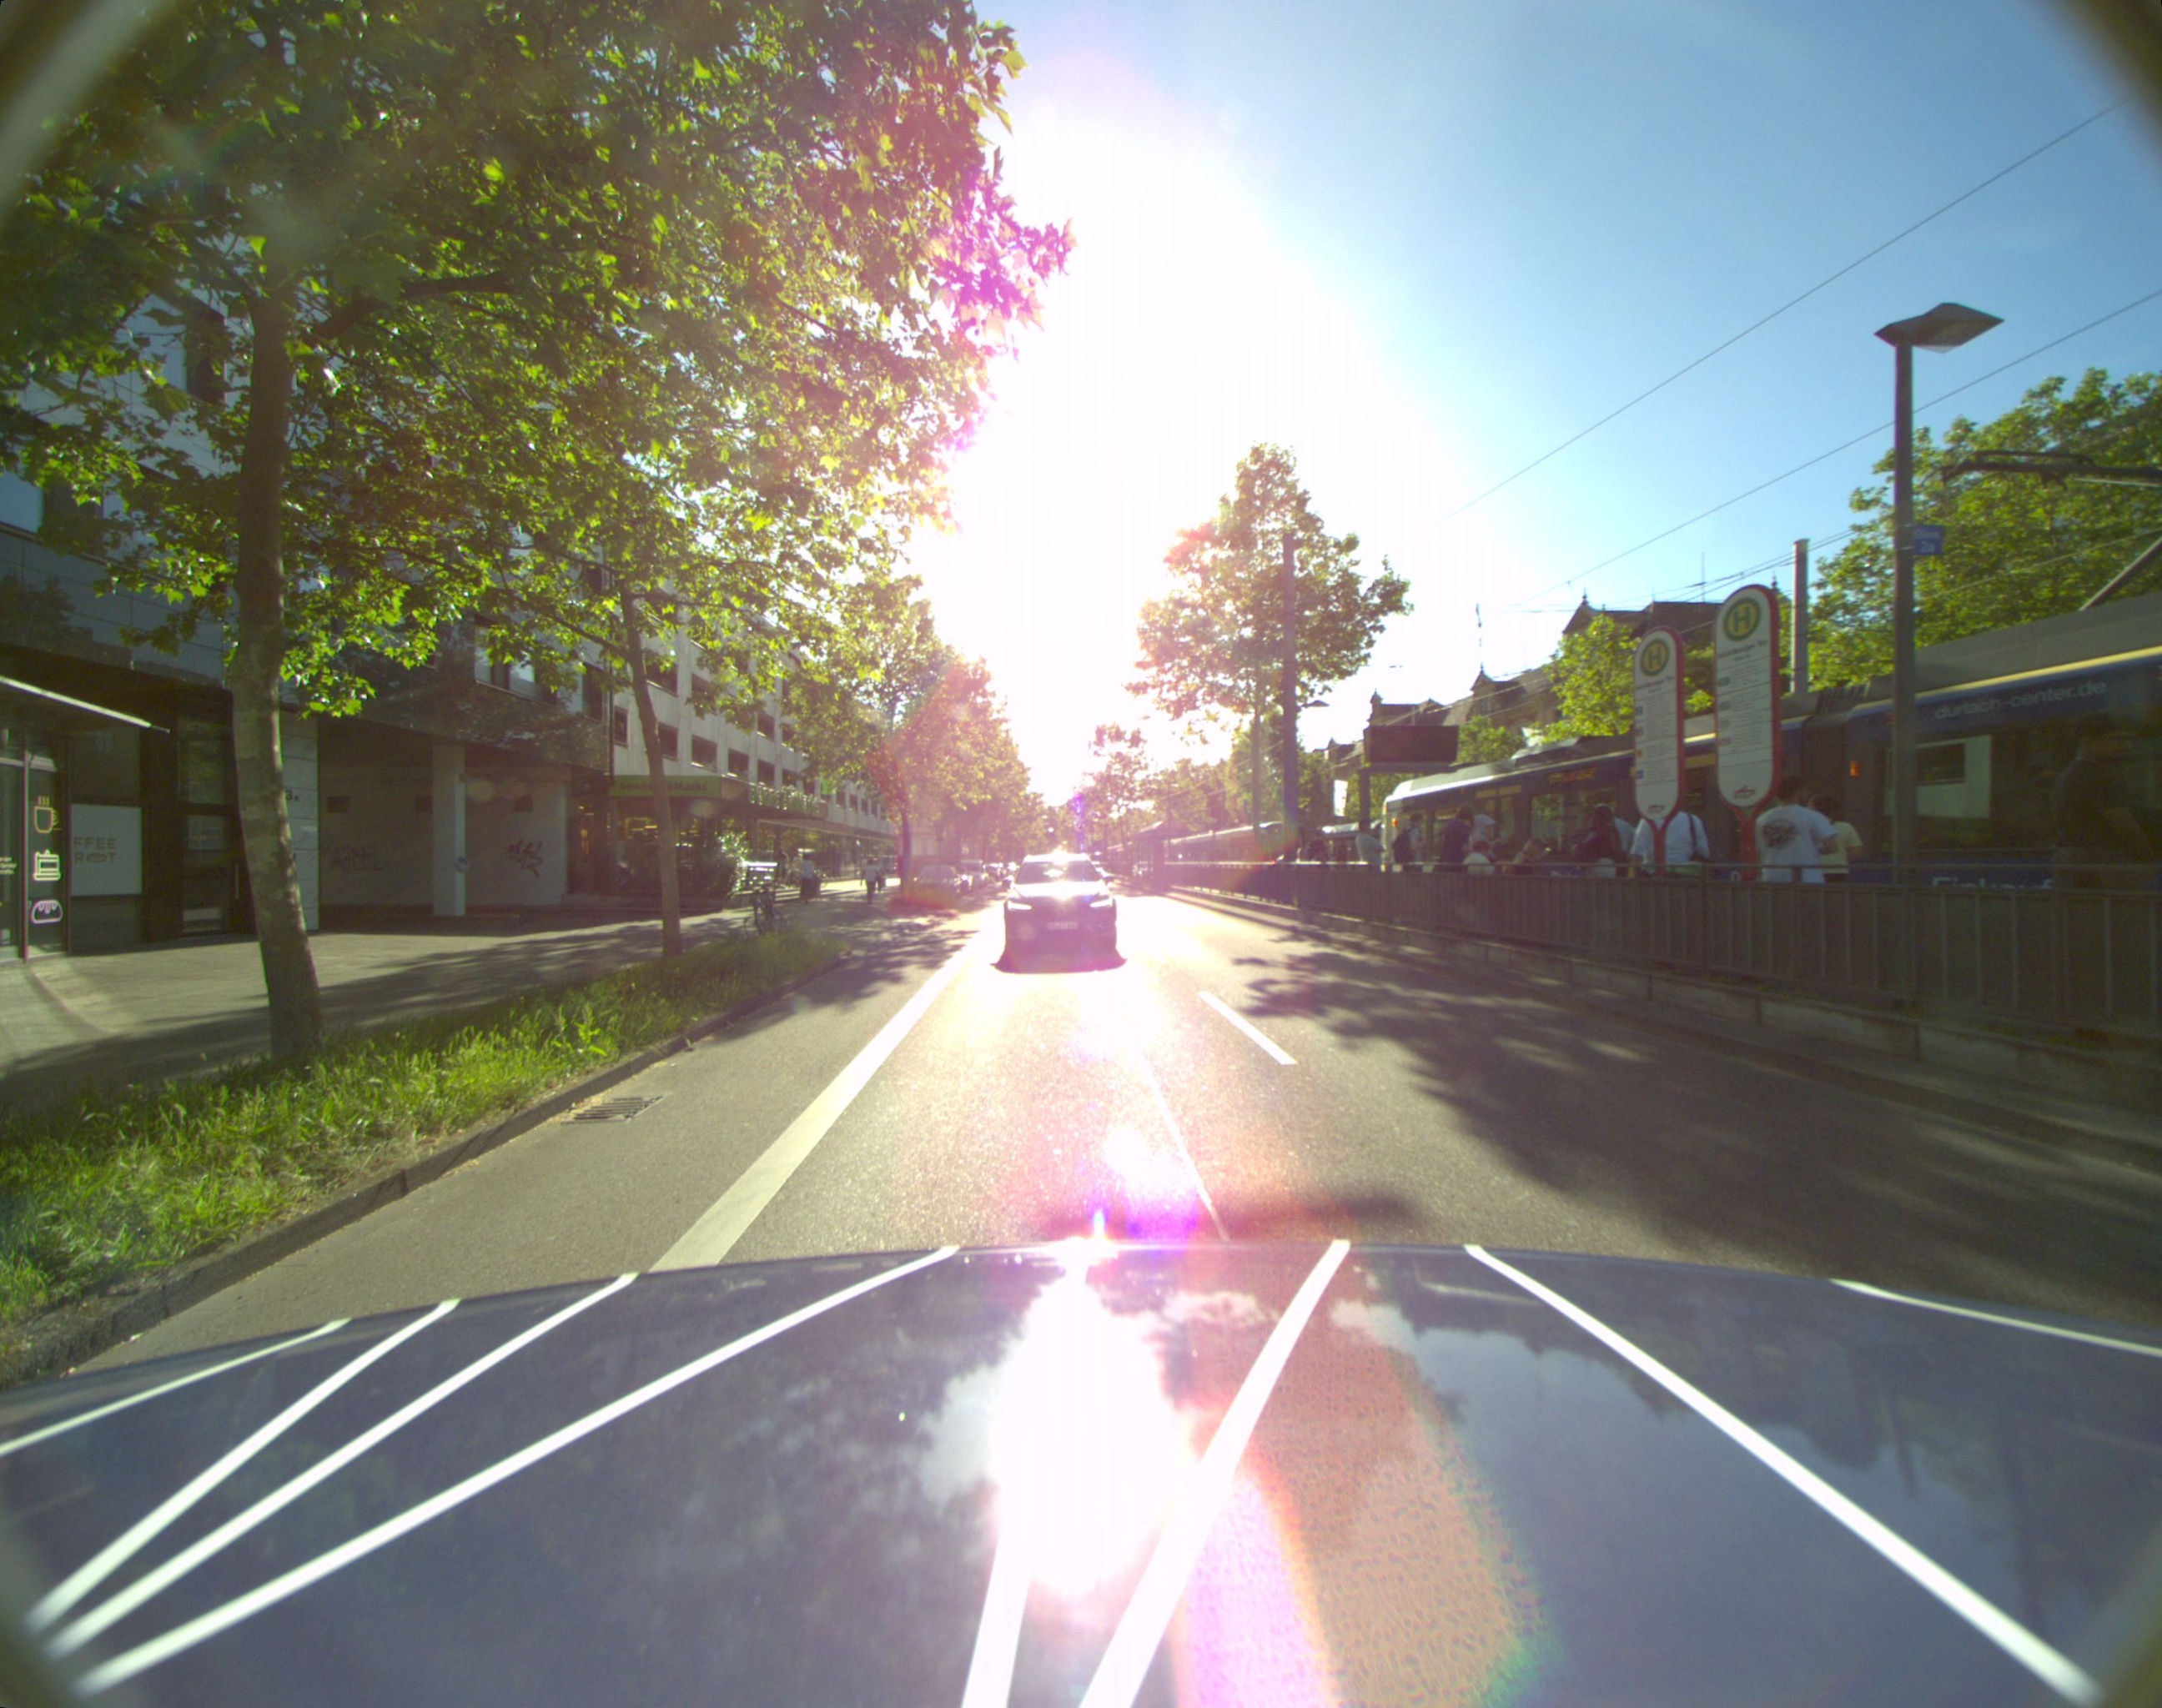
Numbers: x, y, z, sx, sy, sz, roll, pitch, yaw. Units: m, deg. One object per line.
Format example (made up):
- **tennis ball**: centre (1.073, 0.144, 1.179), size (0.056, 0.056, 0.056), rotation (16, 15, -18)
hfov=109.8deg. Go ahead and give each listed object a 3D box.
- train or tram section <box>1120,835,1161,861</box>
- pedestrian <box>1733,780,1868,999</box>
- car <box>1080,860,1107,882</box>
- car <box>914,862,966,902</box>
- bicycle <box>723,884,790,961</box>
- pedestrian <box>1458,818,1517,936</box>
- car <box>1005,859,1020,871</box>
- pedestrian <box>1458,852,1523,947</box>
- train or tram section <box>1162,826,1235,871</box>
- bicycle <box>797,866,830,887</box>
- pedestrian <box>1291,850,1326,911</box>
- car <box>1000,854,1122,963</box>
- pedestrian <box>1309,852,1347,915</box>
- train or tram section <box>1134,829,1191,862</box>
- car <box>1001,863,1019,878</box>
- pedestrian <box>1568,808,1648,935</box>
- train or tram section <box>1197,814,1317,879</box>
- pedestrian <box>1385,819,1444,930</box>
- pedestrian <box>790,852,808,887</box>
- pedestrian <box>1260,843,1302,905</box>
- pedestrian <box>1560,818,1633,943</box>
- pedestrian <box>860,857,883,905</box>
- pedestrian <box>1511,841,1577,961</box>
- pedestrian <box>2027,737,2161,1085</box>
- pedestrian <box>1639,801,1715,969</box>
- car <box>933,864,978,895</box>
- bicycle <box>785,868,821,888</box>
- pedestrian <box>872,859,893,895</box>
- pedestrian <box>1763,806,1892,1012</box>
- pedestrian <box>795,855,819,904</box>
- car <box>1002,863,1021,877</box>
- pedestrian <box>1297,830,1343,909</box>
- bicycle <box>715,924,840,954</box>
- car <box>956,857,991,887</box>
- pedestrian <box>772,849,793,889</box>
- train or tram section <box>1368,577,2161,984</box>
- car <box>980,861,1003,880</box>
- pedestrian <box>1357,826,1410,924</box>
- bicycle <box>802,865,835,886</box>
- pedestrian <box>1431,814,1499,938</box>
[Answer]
- **train or tram section**: centre (6.194, -0.550, 82.300), size (2.570, 2.516, 15.069), rotation (-1, 0, -3)
- **pedestrian**: centre (5.842, 0.277, 6.195), size (0.507, 1.692, 0.611), rotation (0, 0, -7)
- **car**: centre (0.827, 1.160, 52.804), size (1.707, 1.407, 3.875), rotation (-2, 0, -1)
- **car**: centre (-5.901, 1.138, 32.209), size (1.569, 1.541, 3.999), rotation (-1, 0, -2)
- **bicycle**: centre (-5.455, 1.115, 12.873), size (0.791, 1.126, 1.844), rotation (0, 0, -15)
- **pedestrian**: centre (6.000, 0.336, 11.240), size (0.516, 1.698, 0.621), rotation (0, 0, -3)
- **car**: centre (-9.552, 1.516, 105.670), size (1.839, 1.555, 4.272), rotation (-1, 0, -3)
- **pedestrian**: centre (5.281, 0.571, 9.821), size (0.546, 1.185, 0.531), rotation (0, 0, -3)
- **train or tram section**: centre (10.209, -0.354, 68.831), size (2.879, 3.414, 18.271), rotation (-2, 0, -2)
- **bicycle**: centre (-14.266, 1.179, 40.527), size (1.700, 1.049, 0.587), rotation (1, -1, 24)
- **pedestrian**: centre (4.851, 0.556, 16.230), size (0.535, 1.291, 0.604), rotation (0, 0, -6)
- **car**: centre (-0.425, 0.869, 14.276), size (1.914, 1.695, 4.272), rotation (-1, 0, -3)
- **pedestrian**: centre (4.945, 0.578, 15.243), size (0.535, 1.239, 0.604), rotation (0, 0, -5)
- **train or tram section**: centre (6.899, -0.611, 66.931), size (2.570, 2.549, 15.671), rotation (-1, 0, -3)
- **car**: centre (-6.980, 1.596, 74.753), size (1.630, 1.433, 3.929), rotation (1, 0, -3)
- **pedestrian**: centre (7.016, 0.225, 10.135), size (0.620, 1.640, 0.622), rotation (0, 0, -7)
- **train or tram section**: centre (11.002, -0.356, 50.509), size (2.857, 3.414, 18.210), rotation (-2, 0, -2)
- **pedestrian**: centre (5.184, 0.309, 11.827), size (0.662, 1.686, 0.571), rotation (0, 0, -2)
- **pedestrian**: centre (-14.076, 0.758, 37.963), size (0.614, 1.705, 0.611), rotation (6, -1, -27)
- **pedestrian**: centre (4.918, 0.478, 18.752), size (0.778, 1.501, 0.751), rotation (0, 0, -6)
- **pedestrian**: centre (6.403, 0.318, 9.456), size (0.546, 1.510, 0.531), rotation (0, 0, -3)
- **pedestrian**: centre (-7.618, 0.967, 27.658), size (0.561, 1.694, 1.052), rotation (0, 0, -3)
- **pedestrian**: centre (5.202, 0.516, 8.553), size (0.417, 1.308, 0.507), rotation (0, 0, -5)
- **pedestrian**: centre (5.593, 0.281, 4.008), size (0.549, 1.724, 0.539), rotation (0, 0, -7)
- **pedestrian**: centre (6.274, 0.313, 8.028), size (0.506, 1.692, 0.613), rotation (0, 0, 25)
- **car**: centre (-6.353, 1.257, 38.999), size (1.766, 1.409, 4.699), rotation (-1, 0, -3)
- **bicycle**: centre (-13.457, 1.172, 36.792), size (1.648, 0.910, 0.587), rotation (1, -3, 24)
- **pedestrian**: centre (-9.114, 1.060, 34.932), size (0.699, 1.603, 0.868), rotation (2, 0, -1)
- **pedestrian**: centre (6.690, 0.471, 6.830), size (0.555, 1.760, 0.611), rotation (0, 0, -7)
- **pedestrian**: centre (-9.915, 0.909, 27.500), size (0.561, 1.734, 0.878), rotation (0, 0, -3)
- **car**: centre (-7.307, 1.677, 79.818), size (1.781, 1.373, 4.275), rotation (-1, 0, -3)
- **pedestrian**: centre (5.442, 0.348, 17.321), size (0.778, 1.742, 0.723), rotation (0, 0, -6)
- **bicycle**: centre (-5.126, 1.441, 13.001), size (1.613, 0.351, 1.388), rotation (0, 0, -3)
- **car**: centre (-6.863, 1.123, 48.752), size (1.769, 1.781, 4.392), rotation (0, 0, -2)
- **pedestrian**: centre (-12.776, 0.634, 32.529), size (0.559, 1.668, 0.882), rotation (2, 0, -3)
- **train or tram section**: centre (9.755, -0.723, 12.934), size (2.922, 3.241, 15.886), rotation (-2, 1, -3)
- **car**: centre (-7.559, 1.368, 64.347), size (1.677, 1.430, 3.688), rotation (2, 0, -4)
- **pedestrian**: centre (5.126, 0.344, 12.905), size (0.662, 1.624, 0.571), rotation (0, 0, -2)
- **bicycle**: centre (-14.324, 1.178, 41.494), size (1.700, 1.049, 0.587), rotation (2, 0, 24)
- **pedestrian**: centre (5.361, 0.296, 10.627), size (0.662, 1.686, 0.571), rotation (0, 0, -2)
